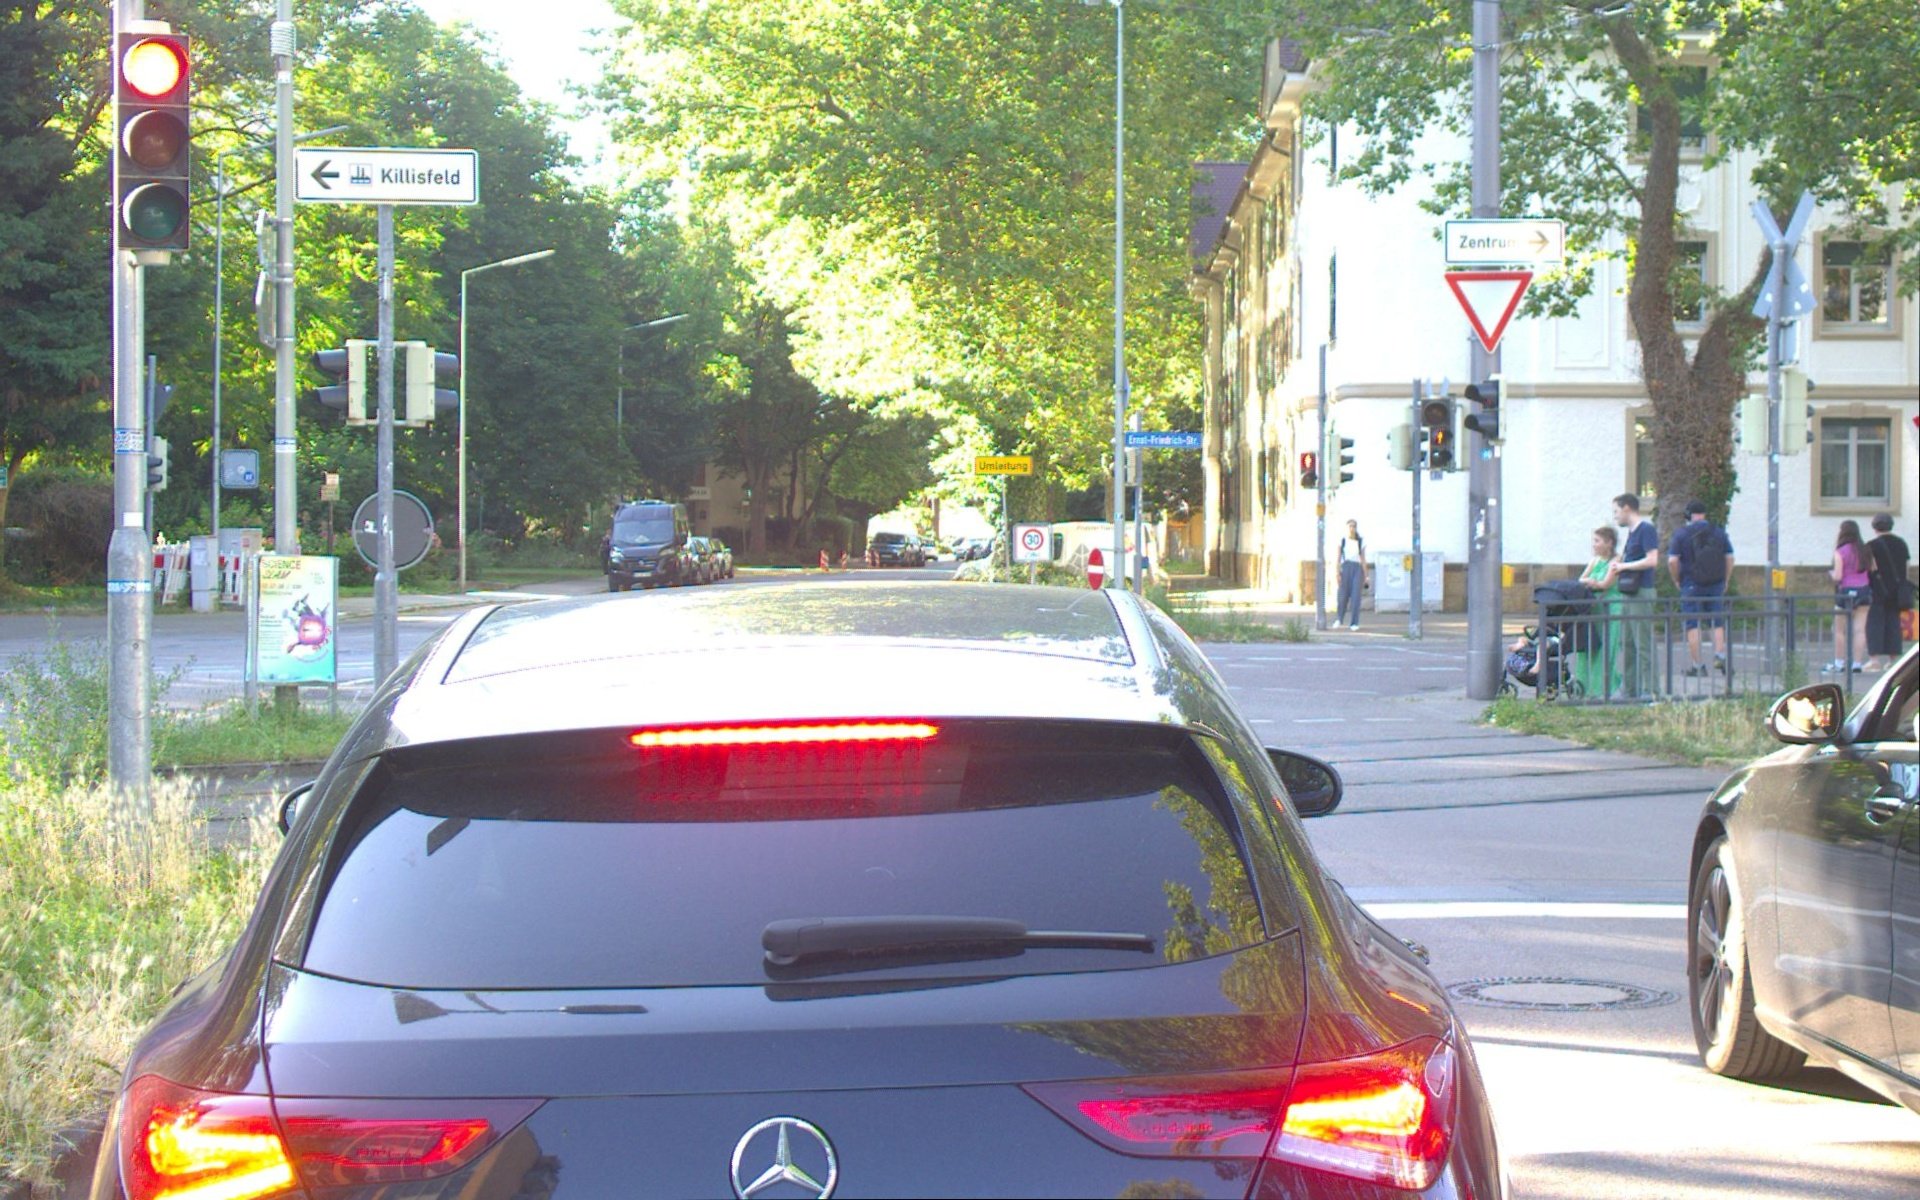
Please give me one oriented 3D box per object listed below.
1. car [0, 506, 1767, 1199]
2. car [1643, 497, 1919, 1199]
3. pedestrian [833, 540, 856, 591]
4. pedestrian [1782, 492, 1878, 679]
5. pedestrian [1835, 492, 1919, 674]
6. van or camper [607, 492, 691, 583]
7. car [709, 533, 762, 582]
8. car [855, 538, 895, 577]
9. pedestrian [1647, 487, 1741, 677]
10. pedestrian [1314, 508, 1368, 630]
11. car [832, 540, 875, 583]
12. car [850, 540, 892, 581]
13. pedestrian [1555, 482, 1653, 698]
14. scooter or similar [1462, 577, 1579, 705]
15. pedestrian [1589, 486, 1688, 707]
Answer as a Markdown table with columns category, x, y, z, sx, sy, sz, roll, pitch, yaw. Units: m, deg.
| category | x | y | z | sx | sy | sz | roll | pitch | yaw |
| --- | --- | --- | --- | --- | --- | --- | --- | --- | --- |
| car | -0.146 | 0.641 | 5.376 | 1.889 | 1.445 | 4.001 | 1 | 3 | 1 |
| car | 2.902 | 0.587 | 7.330 | 1.889 | 1.485 | 4.382 | 1 | 3 | -1 |
| pedestrian | -4.372 | -1.316 | 130.026 | 0.705 | 1.911 | 0.839 | 1 | 0 | -10 |
| pedestrian | 9.021 | -0.149 | 35.669 | 0.705 | 1.911 | 0.839 | 1 | 0 | -4 |
| pedestrian | 9.832 | -0.178 | 36.669 | 0.705 | 1.911 | 0.839 | 1 | 0 | -4 |
| van or camper | -8.998 | -1.798 | 99.737 | 1.993 | 2.532 | 4.651 | 1 | 1 | 0 |
| car | -8.233 | -1.558 | 126.402 | 1.733 | 1.759 | 3.971 | 1 | 1 | -1 |
| car | -3.907 | -1.960 | 158.464 | 1.733 | 1.759 | 4.019 | 1 | 1 | -1 |
| pedestrian | 7.508 | -0.186 | 35.186 | 0.705 | 1.911 | 0.839 | 1 | 0 | -4 |
| pedestrian | 6.083 | -0.495 | 54.930 | 0.705 | 1.911 | 0.839 | 1 | 0 | -4 |
| car | -4.488 | -1.638 | 145.562 | 1.733 | 1.759 | 4.019 | 1 | 1 | -1 |
| car | -3.885 | -1.738 | 150.382 | 1.733 | 1.759 | 4.019 | 1 | 1 | -1 |
| pedestrian | 5.783 | -0.095 | 30.890 | 0.682 | 1.911 | 0.707 | 1 | 0 | -4 |
| scooter or similar | 4.946 | 0.355 | 30.384 | 0.828 | 1.101 | 0.809 | 1 | 0 | -6 |
| pedestrian | 5.941 | -0.032 | 30.119 | 0.682 | 1.911 | 0.707 | 1 | 0 | -2 |
